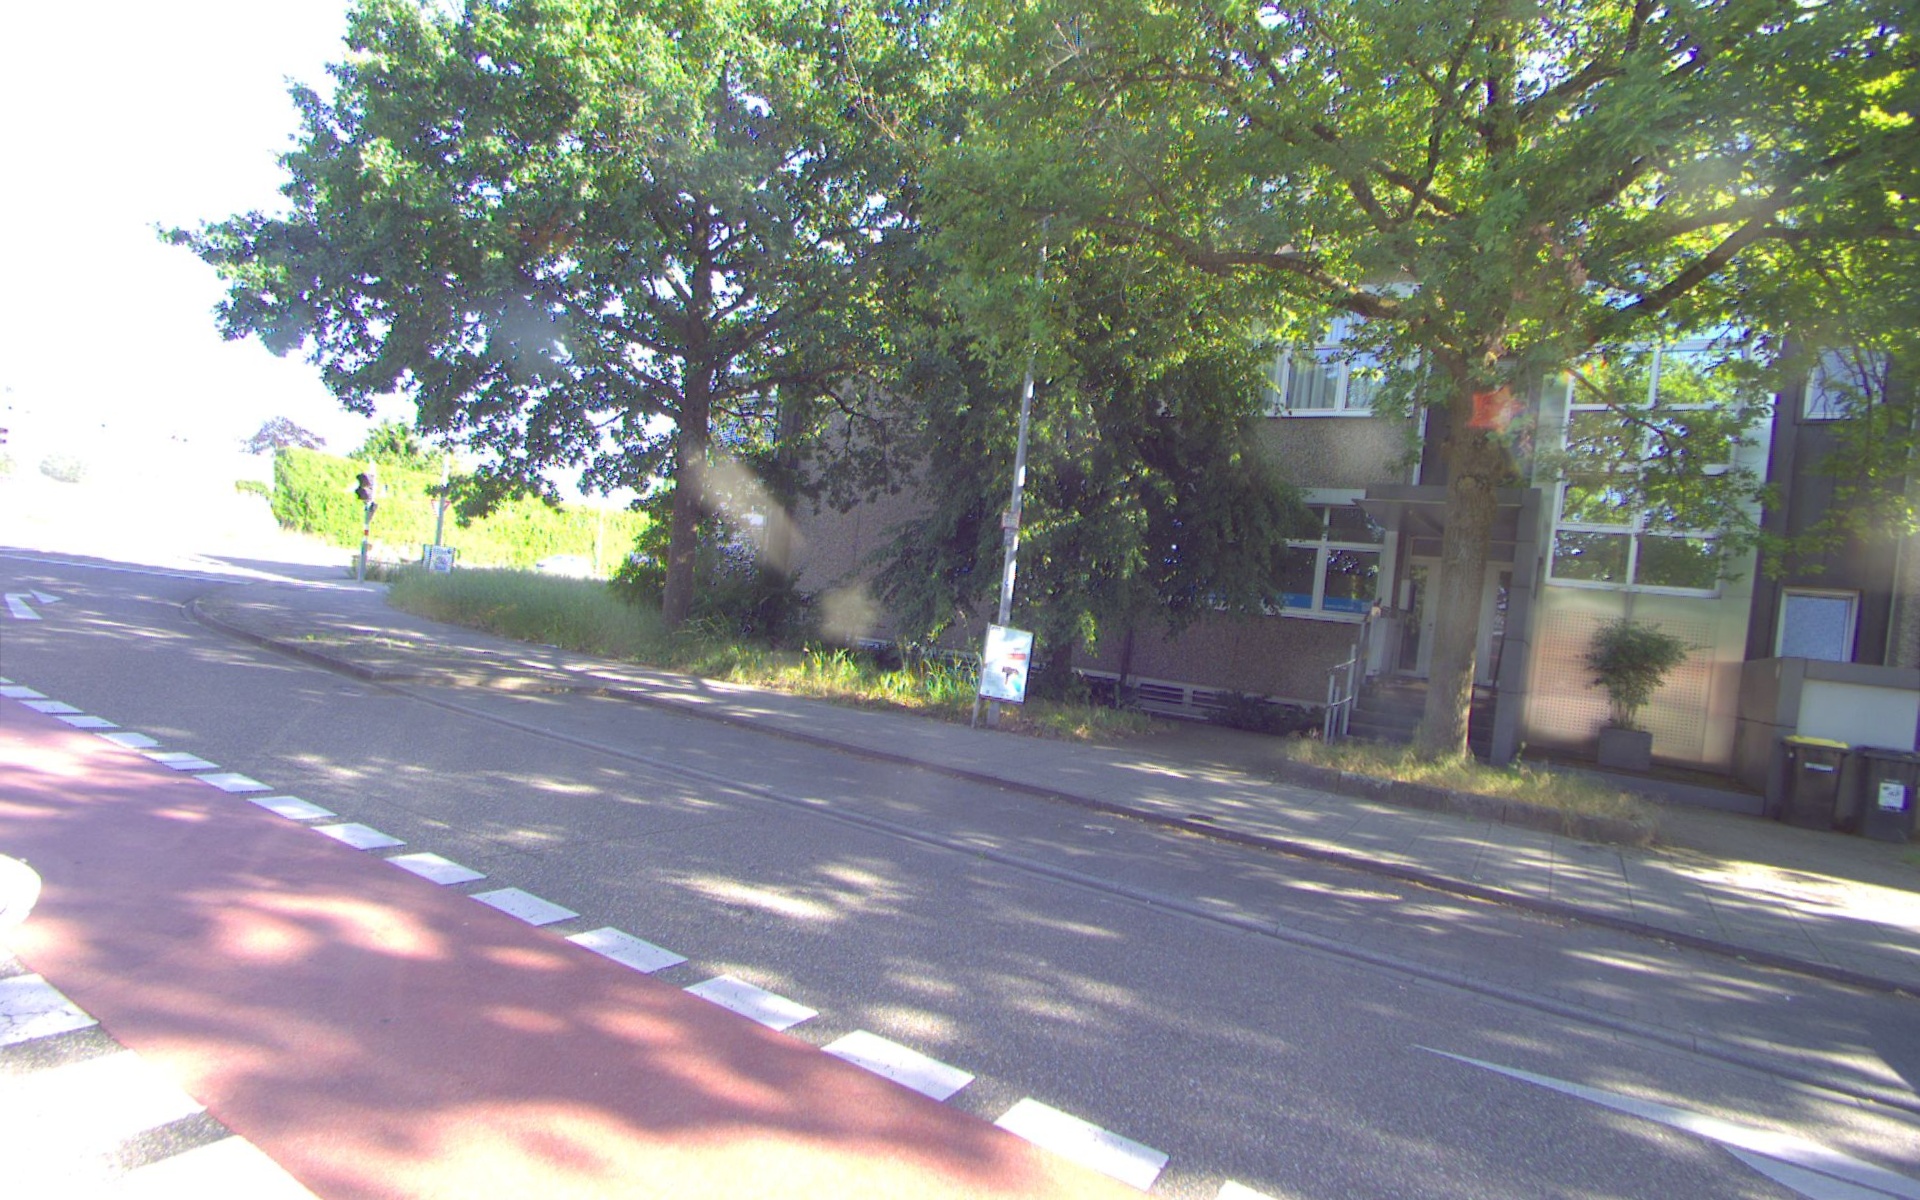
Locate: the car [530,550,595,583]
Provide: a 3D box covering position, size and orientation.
[{"bbox_3d":[-26.722,-2.203,67.699,1.677,1.631,3.820,7,-2,25],"label":"car"}]

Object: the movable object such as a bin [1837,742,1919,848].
[{"bbox_3d":[10.757,2.254,11.720,0.605,1.075,0.634,6,0,30],"label":"movable object such as a bin"}]

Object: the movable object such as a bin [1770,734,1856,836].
[{"bbox_3d":[10.169,2.186,12.014,0.575,1.070,0.625,7,0,30],"label":"movable object such as a bin"}]
